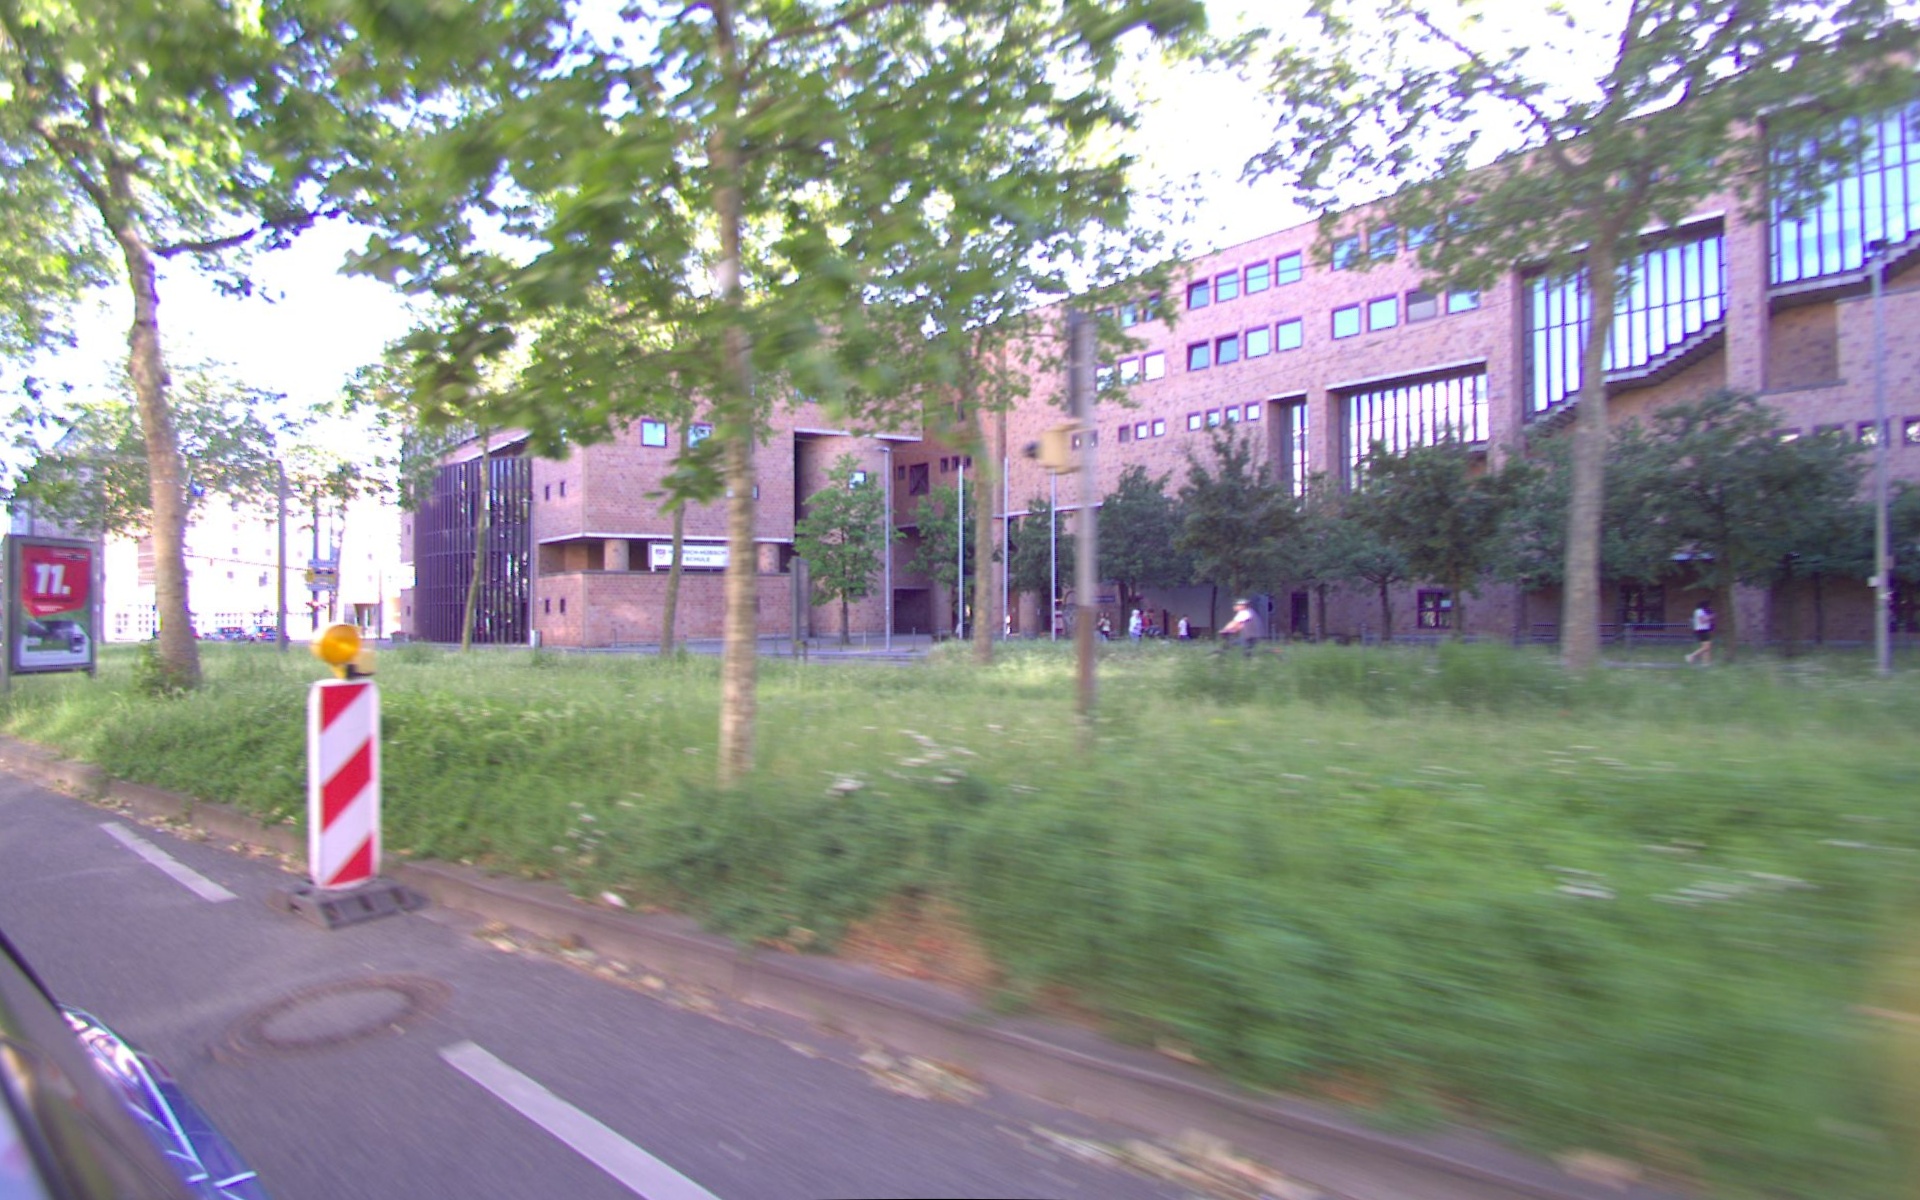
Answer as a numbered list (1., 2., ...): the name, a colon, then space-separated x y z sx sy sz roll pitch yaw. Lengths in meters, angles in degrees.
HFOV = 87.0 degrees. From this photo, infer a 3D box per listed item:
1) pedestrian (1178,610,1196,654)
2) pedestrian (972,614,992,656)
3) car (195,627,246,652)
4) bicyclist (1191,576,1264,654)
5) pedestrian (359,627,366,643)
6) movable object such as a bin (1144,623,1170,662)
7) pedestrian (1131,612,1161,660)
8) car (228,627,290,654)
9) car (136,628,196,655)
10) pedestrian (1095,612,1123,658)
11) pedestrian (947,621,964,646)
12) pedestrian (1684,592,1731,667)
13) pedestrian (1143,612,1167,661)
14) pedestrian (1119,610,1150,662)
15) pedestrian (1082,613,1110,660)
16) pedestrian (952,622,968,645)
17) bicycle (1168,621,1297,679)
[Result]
1. pedestrian: 7.941 1.104 35.423 0.462 1.517 0.479 -1 -2 33
2. pedestrian: 0.822 1.317 38.439 0.411 1.555 0.654 0 -2 -40
3. car: -44.555 2.386 60.986 3.215 1.440 1.598 -2 -2 36
4. bicyclist: 5.600 0.318 21.205 1.207 1.583 0.932 -2 -2 37
5. pedestrian: -57.168 3.314 96.882 0.558 1.516 0.513 0 -3 -31
6. movable object such as a bin: 6.616 1.418 34.014 0.755 1.289 0.352 -2 -2 37
7. pedestrian: 6.455 1.250 35.090 0.656 1.629 0.757 1 -2 -45
8. car: -39.629 2.279 57.185 4.141 1.440 1.656 -2 -2 36
9. car: -43.976 2.269 56.027 4.141 1.440 1.598 -2 -1 36
10. pedestrian: 5.328 1.258 36.213 0.755 1.629 0.658 -2 -2 37
11. pedestrian: -0.249 1.731 52.707 0.654 1.260 0.759 0 -1 -21
12. pedestrian: 18.845 0.750 25.508 0.900 1.845 0.816 -2 -2 38
13. pedestrian: 6.840 1.262 35.493 0.595 1.692 0.605 -2 -2 36
14. pedestrian: 5.944 1.212 34.432 0.795 1.735 0.658 -2 -2 36
15. pedestrian: 4.771 1.289 35.520 0.755 1.629 0.658 -2 -2 36
16. pedestrian: 0.015 1.786 53.679 0.627 1.207 0.660 -1 -1 27
17. bicycle: 5.669 1.010 21.160 2.432 1.134 0.947 -1 -1 38
